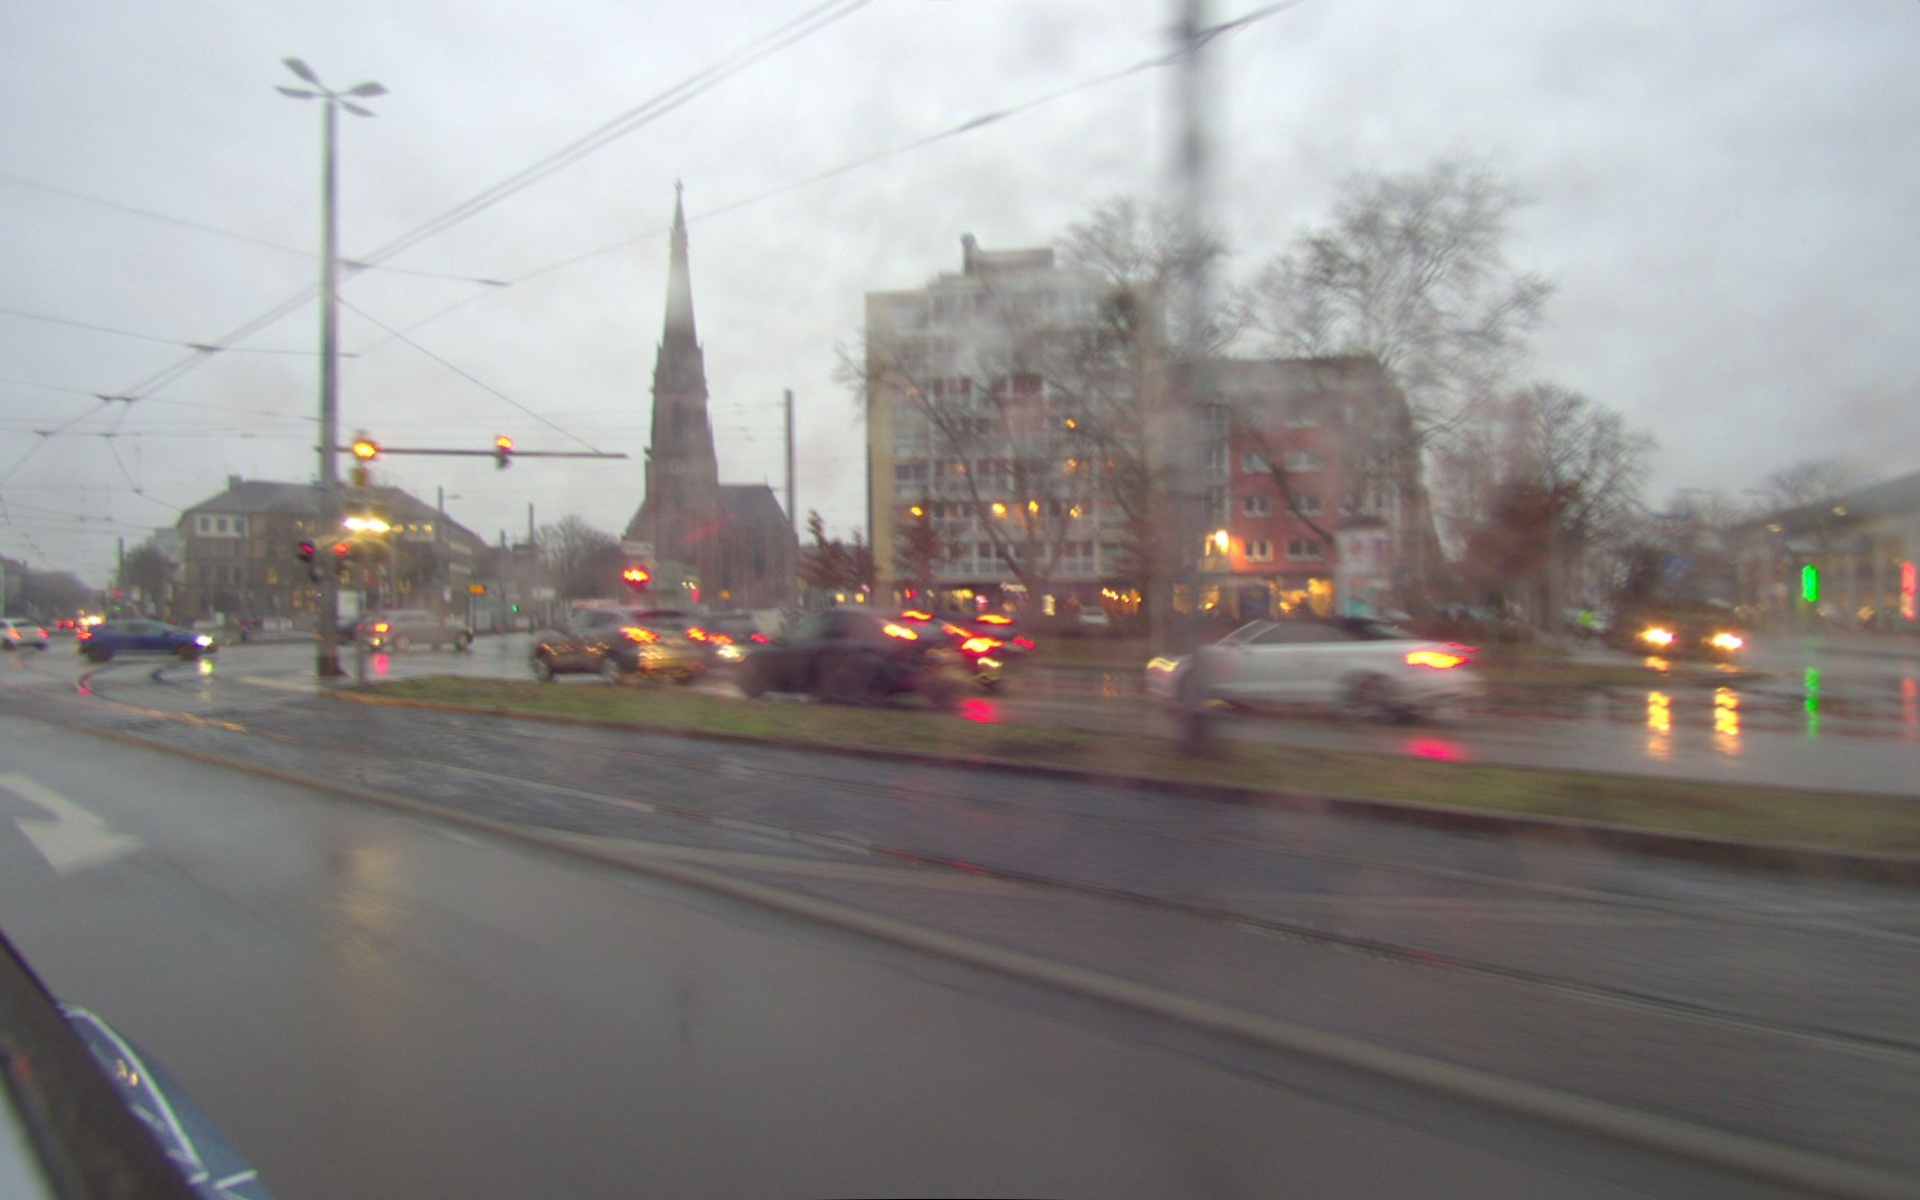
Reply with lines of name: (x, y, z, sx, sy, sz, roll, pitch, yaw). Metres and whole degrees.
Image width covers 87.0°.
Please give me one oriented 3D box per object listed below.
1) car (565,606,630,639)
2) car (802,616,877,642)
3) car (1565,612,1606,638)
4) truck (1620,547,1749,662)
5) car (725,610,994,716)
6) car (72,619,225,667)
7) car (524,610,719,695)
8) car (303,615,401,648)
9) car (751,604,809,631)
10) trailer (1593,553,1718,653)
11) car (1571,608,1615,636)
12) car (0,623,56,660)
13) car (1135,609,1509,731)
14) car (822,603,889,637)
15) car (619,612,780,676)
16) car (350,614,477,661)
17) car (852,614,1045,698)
car: (-20.808, 1.282, 58.342, 1.802, 1.807, 4.560, -1, -1, 5)
car: (-6.749, 1.613, 56.879, 3.946, 1.320, 1.999, -1, 0, 2)
car: (40.809, 1.628, 66.098, 1.991, 1.674, 3.961, -1, -1, 28)
truck: (24.102, 0.122, 33.992, 2.646, 3.443, 6.691, -1, 0, 28)
car: (-1.612, 0.899, 15.453, 3.998, 1.401, 1.852, -1, -3, 41)
car: (-29.226, 1.499, 36.619, 4.194, 1.580, 1.830, 0, -1, -36)
car: (-6.765, 0.978, 20.074, 3.997, 1.497, 1.880, -1, -1, 40)
car: (-31.714, 1.603, 52.900, 1.994, 1.564, 3.956, -1, 0, 32)
car: (-13.831, 1.323, 77.655, 3.931, 2.029, 2.007, -1, 0, -26)
trailer: (28.372, 0.062, 41.928, 2.625, 3.443, 14.912, -1, 0, 28)
car: (38.648, 1.333, 61.907, 1.991, 1.674, 3.961, -1, -1, 28)
car: (-47.426, 2.047, 50.020, 4.439, 1.710, 1.991, -1, -1, 14)
car: (4.981, 0.878, 14.333, 4.585, 1.432, 1.973, -1, -1, 41)
car: (-6.541, 1.254, 63.491, 3.946, 2.029, 1.999, -1, 0, 2)
car: (-6.217, 0.991, 23.932, 3.997, 1.368, 1.707, -1, -1, 40)
car: (-23.169, 1.548, 43.076, 1.817, 1.807, 4.524, -1, -1, 28)
car: (-0.270, 0.991, 19.027, 3.470, 1.429, 1.584, -1, -1, 41)
